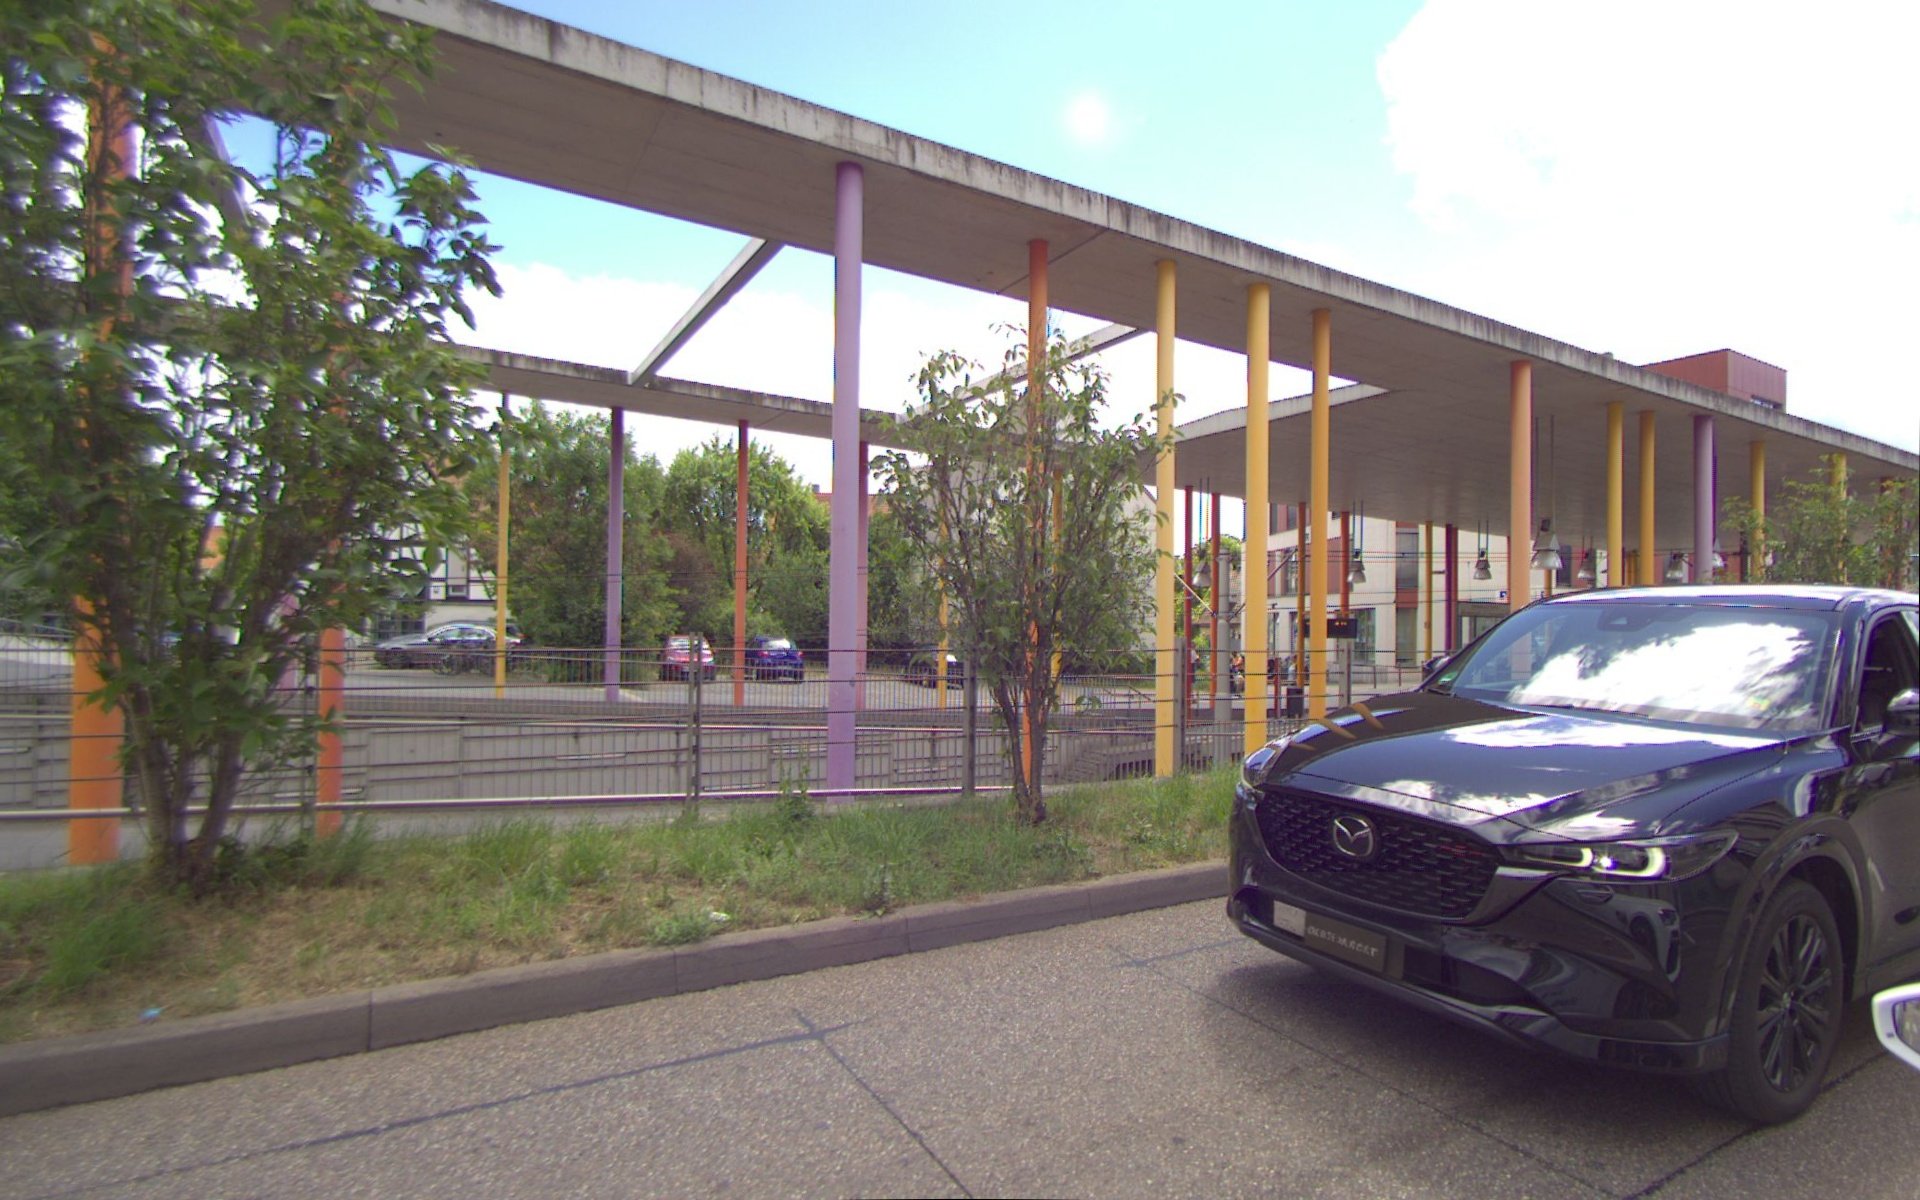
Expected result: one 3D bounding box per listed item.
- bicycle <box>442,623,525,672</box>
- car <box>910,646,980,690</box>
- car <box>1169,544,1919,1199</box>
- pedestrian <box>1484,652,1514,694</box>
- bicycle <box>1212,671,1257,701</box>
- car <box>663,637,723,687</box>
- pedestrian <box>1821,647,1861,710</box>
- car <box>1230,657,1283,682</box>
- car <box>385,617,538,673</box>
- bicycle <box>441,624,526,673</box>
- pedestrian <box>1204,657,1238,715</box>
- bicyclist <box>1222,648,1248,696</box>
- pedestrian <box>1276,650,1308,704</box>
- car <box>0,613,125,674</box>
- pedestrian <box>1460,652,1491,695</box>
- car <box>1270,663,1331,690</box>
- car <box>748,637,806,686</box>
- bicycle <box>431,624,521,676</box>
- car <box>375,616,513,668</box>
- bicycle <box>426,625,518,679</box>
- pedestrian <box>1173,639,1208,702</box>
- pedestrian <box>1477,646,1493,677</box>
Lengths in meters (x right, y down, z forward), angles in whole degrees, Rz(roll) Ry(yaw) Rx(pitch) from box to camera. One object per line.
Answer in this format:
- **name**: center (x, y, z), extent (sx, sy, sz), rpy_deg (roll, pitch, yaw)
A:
- **bicycle**: center (-13.656, 1.365, 28.822), extent (2.028, 1.285, 0.531), rpy_deg (3, -1, -18)
- **car**: center (-0.606, 2.440, 36.613), extent (1.544, 1.354, 3.988), rpy_deg (3, -1, -15)
- **car**: center (3.256, 0.734, 4.378), extent (4.577, 1.626, 1.908), rpy_deg (2, 0, -33)
- **pedestrian**: center (18.820, 2.540, 35.070), extent (0.694, 1.397, 0.648), rpy_deg (0, 0, -30)
- **bicycle**: center (9.527, 2.989, 34.841), extent (1.593, 0.975, 0.481), rpy_deg (3, -1, -29)
- **car**: center (-8.633, 1.964, 32.448), extent (1.697, 1.354, 3.988), rpy_deg (3, -1, -15)
- **pedestrian**: center (23.587, 2.084, 26.906), extent (0.628, 1.636, 0.626), rpy_deg (0, 0, -30)
- **car**: center (17.292, 4.094, 58.715), extent (1.617, 1.341, 3.716), rpy_deg (3, -5, -7)
- **car**: center (-16.372, 1.483, 33.242), extent (4.200, 1.595, 1.907), rpy_deg (3, -1, -18)
- **bicycle**: center (-13.371, 1.354, 28.226), extent (2.028, 1.285, 0.531), rpy_deg (3, -1, -18)
- **pedestrian**: center (7.949, 2.616, 30.592), extent (0.722, 1.683, 0.638), rpy_deg (3, -1, -31)
- **bicyclist**: center (9.542, 2.493, 34.845), extent (0.673, 1.614, 0.482), rpy_deg (3, -1, -28)
- **pedestrian**: center (10.808, 2.507, 32.690), extent (0.722, 1.683, 0.638), rpy_deg (3, -1, -31)
- **car**: center (-26.885, 1.222, 28.919), extent (3.942, 1.692, 1.894), rpy_deg (0, 0, -22)
- **pedestrian**: center (17.645, 2.518, 34.364), extent (0.697, 1.397, 0.682), rpy_deg (0, 0, -30)
- **car**: center (18.062, 4.070, 53.388), extent (1.617, 1.341, 3.716), rpy_deg (3, -5, -7)
- **car**: center (-6.260, 2.039, 34.133), extent (1.544, 1.419, 3.988), rpy_deg (3, -1, -15)
- **bicycle**: center (-12.795, 1.330, 26.592), extent (2.028, 1.285, 0.531), rpy_deg (3, -1, -18)
- **car**: center (-17.869, 1.459, 34.988), extent (3.937, 1.595, 1.907), rpy_deg (3, -1, -18)
- **bicycle**: center (-12.571, 1.339, 25.932), extent (2.028, 1.285, 0.531), rpy_deg (3, -1, -18)
- **pedestrian**: center (7.293, 2.226, 31.754), extent (0.791, 1.908, 0.638), rpy_deg (3, -1, -31)
- **pedestrian**: center (23.187, 2.704, 44.337), extent (0.505, 1.321, 0.524), rpy_deg (2, -1, 36)
